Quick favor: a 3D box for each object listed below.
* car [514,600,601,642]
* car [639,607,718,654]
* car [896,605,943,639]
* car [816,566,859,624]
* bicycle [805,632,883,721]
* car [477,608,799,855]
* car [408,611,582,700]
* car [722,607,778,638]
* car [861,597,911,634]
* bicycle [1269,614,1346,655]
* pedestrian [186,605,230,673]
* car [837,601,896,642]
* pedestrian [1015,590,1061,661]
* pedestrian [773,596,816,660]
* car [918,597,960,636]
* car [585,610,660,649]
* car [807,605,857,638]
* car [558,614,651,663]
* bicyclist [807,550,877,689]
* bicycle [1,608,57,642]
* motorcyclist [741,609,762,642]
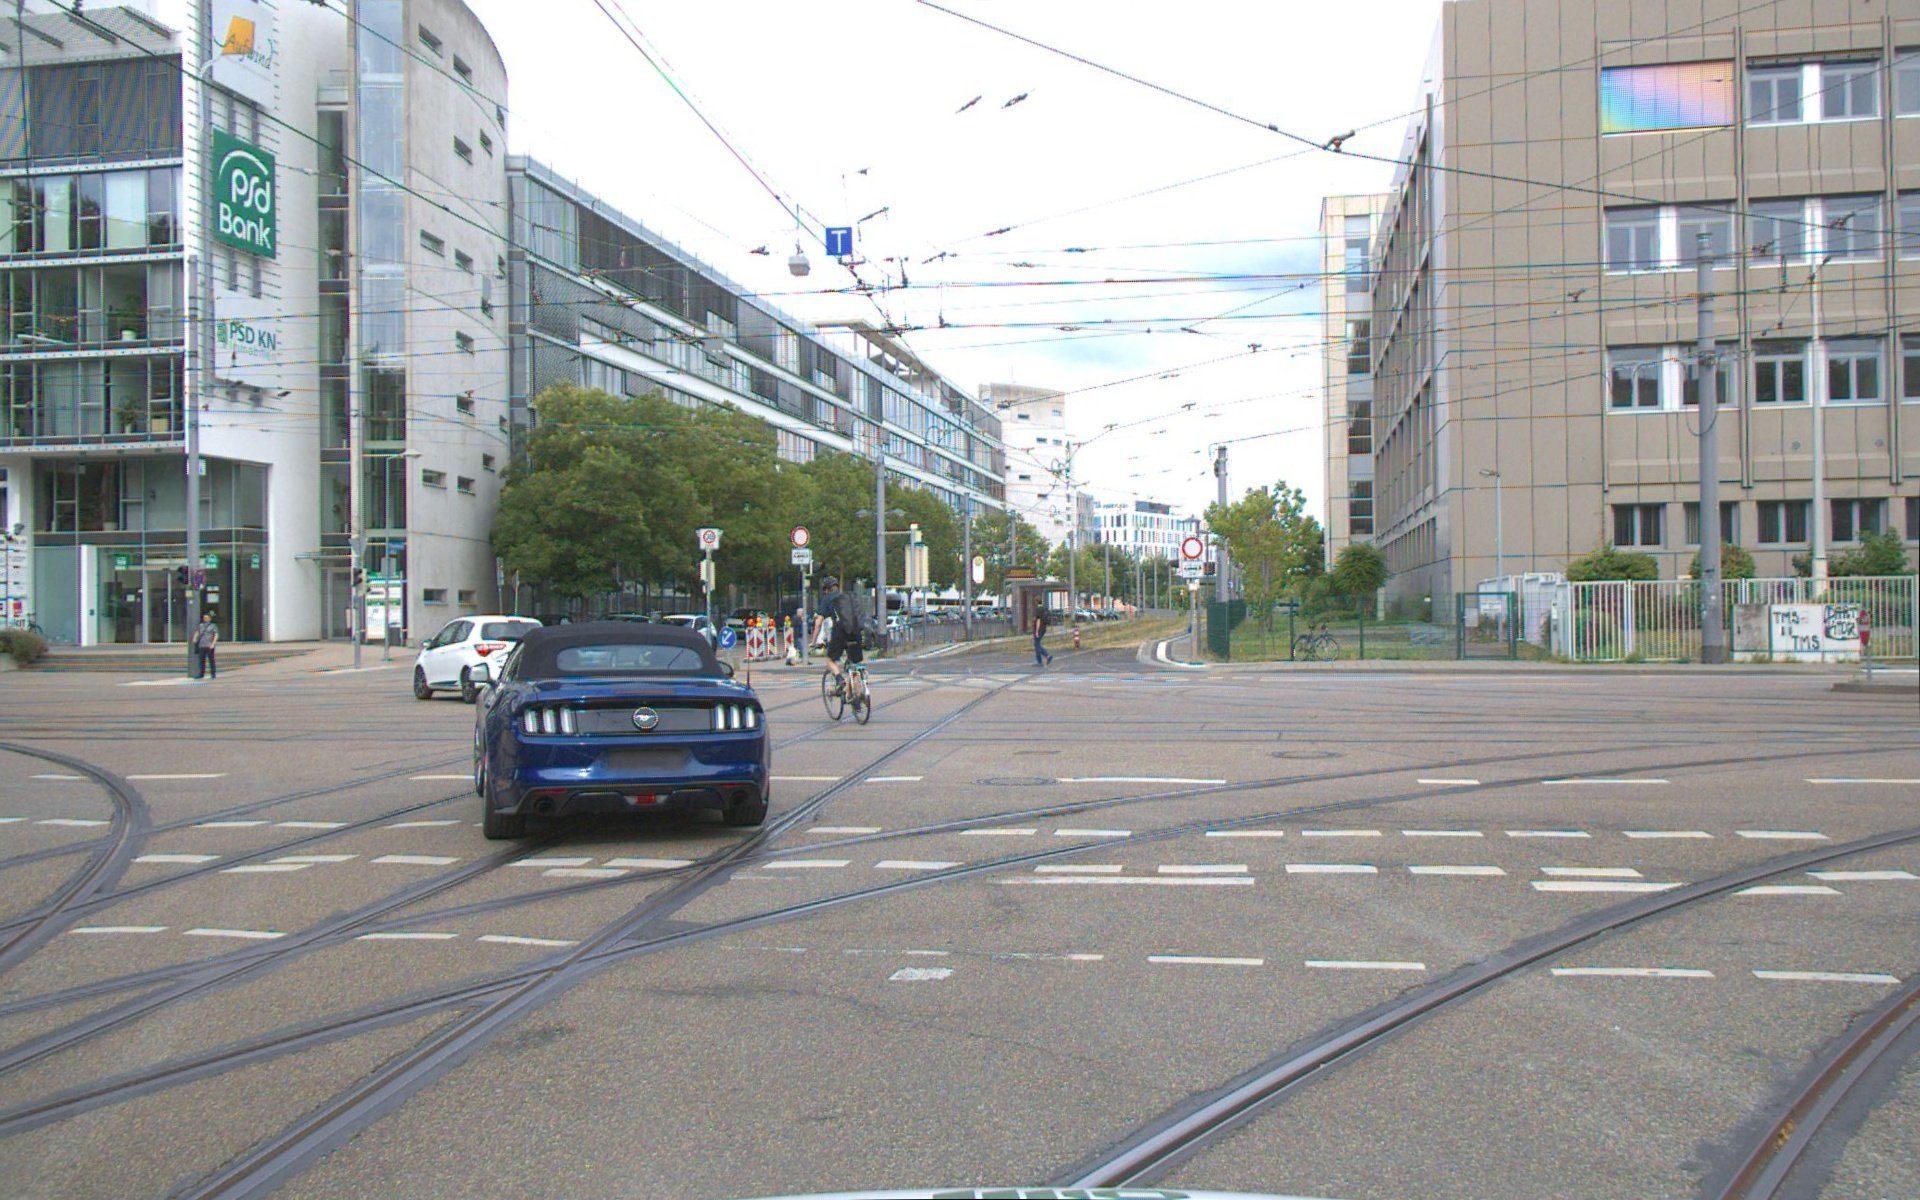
[{"bbox_3d":[-15.879,0.812,65.417,1.790,1.584,4.220,1,0,10],"label":"car"},{"bbox_3d":[-10.850,1.153,64.013,1.678,1.689,4.136,1,0,10],"label":"car"},{"bbox_3d":[-2.019,1.086,83.596,1.828,1.634,4.215,-1,0,6],"label":"car"},{"bbox_3d":[-8.043,-0.314,108.987,1.944,3.700,4.516,1,0,7],"label":"car"},{"bbox_3d":[-1.605,1.016,22.520,0.786,1.105,2.125,-1,0,-11],"label":"bicycle"},{"bbox_3d":[-2.532,0.798,12.143,1.847,1.428,4.261,1,0,-18],"label":"car"},{"bbox_3d":[-8.495,0.969,29.982,1.820,1.464,4.136,-1,0,-34],"label":"car"},{"bbox_3d":[-11.426,1.191,90.197,1.944,1.584,4.516,1,0,7],"label":"car"},{"bbox_3d":[-3.366,0.686,75.856,1.668,1.634,4.081,-1,0,6],"label":"car"},{"bbox_3d":[9.247,0.920,44.090,0.627,0.998,2.131,-1,-3,-35],"label":"bicycle"},{"bbox_3d":[-21.239,1.091,46.709,0.816,1.897,0.766,-1,0,18],"label":"pedestrian"},{"bbox_3d":[-3.946,0.896,70.082,1.839,1.657,4.089,-1,0,6],"label":"car"},{"bbox_3d":[2.163,0.709,45.906,1.063,1.931,0.902,-1,0,15],"label":"pedestrian"},{"bbox_3d":[-4.967,0.835,49.795,0.968,1.888,0.902,-1,0,19],"label":"pedestrian"},{"bbox_3d":[-1.115,0.852,88.472,1.747,2.022,4.123,-1,0,6],"label":"car"},{"bbox_3d":[-14.686,1.266,72.236,1.790,1.584,4.220,1,0,10],"label":"car"},{"bbox_3d":[-6.777,1.129,87.976,1.678,1.689,4.136,1,0,10],"label":"car"},{"bbox_3d":[-12.104,1.276,56.569,1.632,1.533,4.238,1,0,10],"label":"car"},{"bbox_3d":[-1.615,0.256,22.481,0.782,1.817,1.229,-1,0,-12],"label":"bicyclist"},{"bbox_3d":[-33.544,0.910,59.609,0.572,1.197,2.116,1,-1,8],"label":"bicycle"},{"bbox_3d":[-10.333,1.248,81.935,0.802,1.645,0.883,0,0,10],"label":"motorcyclist"}]
